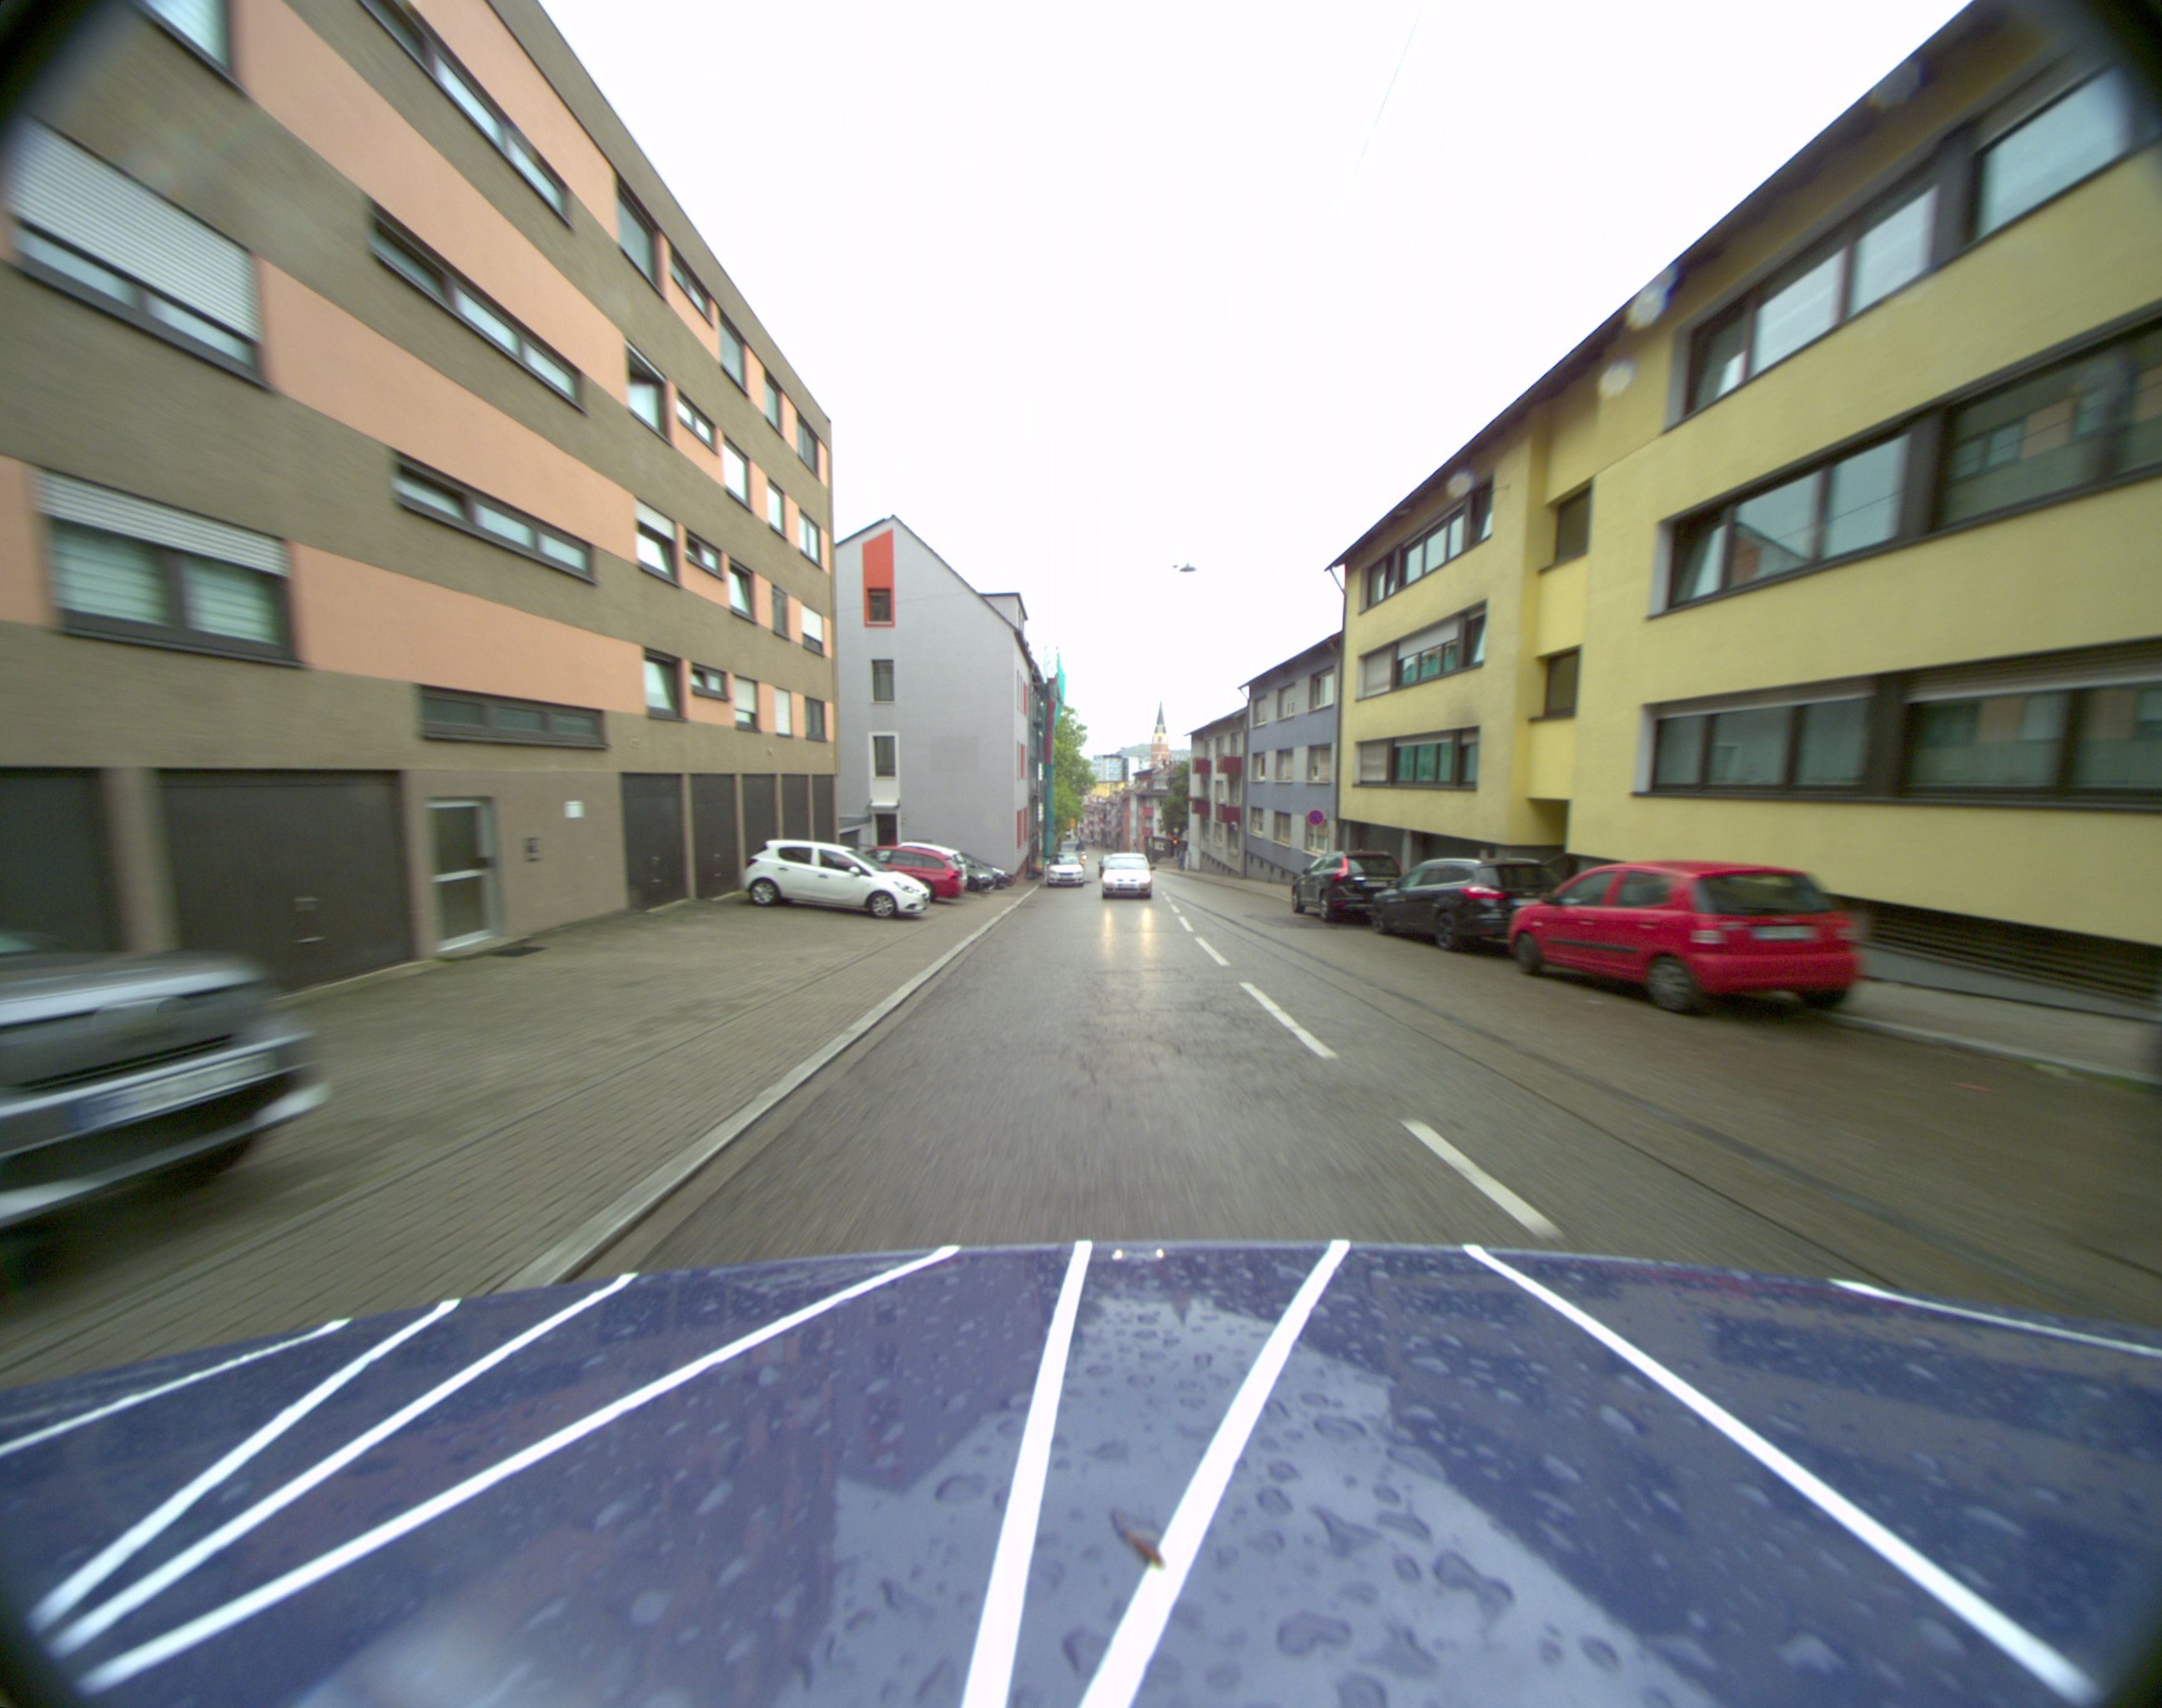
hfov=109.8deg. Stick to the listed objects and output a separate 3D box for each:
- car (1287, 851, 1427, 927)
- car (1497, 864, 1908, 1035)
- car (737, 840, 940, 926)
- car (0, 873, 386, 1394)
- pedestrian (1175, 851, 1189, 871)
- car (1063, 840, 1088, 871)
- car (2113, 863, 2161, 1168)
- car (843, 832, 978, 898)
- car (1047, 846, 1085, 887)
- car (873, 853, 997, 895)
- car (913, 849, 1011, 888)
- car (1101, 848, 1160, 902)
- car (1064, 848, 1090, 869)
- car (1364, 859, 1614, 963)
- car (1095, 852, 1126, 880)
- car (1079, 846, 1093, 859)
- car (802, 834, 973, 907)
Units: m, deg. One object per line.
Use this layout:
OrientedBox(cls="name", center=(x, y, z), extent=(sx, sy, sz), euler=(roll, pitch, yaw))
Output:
OrientedBox(cls="car", center=(6.593, 0.744, 18.754), extent=(1.998, 1.640, 4.442), euler=(0, 0, 2))
OrientedBox(cls="car", center=(6.557, 0.883, 8.588), extent=(1.733, 1.464, 3.490), euler=(0, 0, -1))
OrientedBox(cls="car", center=(-5.342, 0.614, 17.133), extent=(3.973, 1.521, 1.691), euler=(5, 1, -4))
OrientedBox(cls="car", center=(-5.328, 0.948, 2.545), extent=(4.209, 1.487, 1.759), euler=(-3, 1, -2))
OrientedBox(cls="pedestrian", center=(8.036, 0.544, 60.307), extent=(0.871, 1.532, 1.087), euler=(-2, 1, -2))
OrientedBox(cls="car", center=(-0.454, 0.084, 67.064), extent=(1.998, 2.401, 5.833), euler=(-2, 3, 0))
OrientedBox(cls="car", center=(6.626, 0.849, 1.886), extent=(1.999, 1.576, 4.470), euler=(0, 0, -1))
OrientedBox(cls="car", center=(-5.445, 0.338, 24.616), extent=(3.836, 1.692, 1.728), euler=(6, 1, -2))
OrientedBox(cls="car", center=(-0.693, 0.563, 35.956), extent=(1.644, 1.752, 3.999), euler=(-2, 0, -1))
OrientedBox(cls="car", center=(-5.358, 0.718, 28.307), extent=(4.279, 1.458, 1.893), euler=(0, 1, -1))
OrientedBox(cls="car", center=(-4.879, 0.591, 31.571), extent=(3.812, 1.541, 1.660), euler=(1, 1, -1))
OrientedBox(cls="car", center=(1.662, 0.676, 26.751), extent=(1.720, 1.528, 3.997), euler=(-2, 3, -1))
OrientedBox(cls="car", center=(-0.335, 0.364, 61.491), extent=(1.998, 1.503, 4.336), euler=(-2, 1, 0))
OrientedBox(cls="car", center=(6.825, 0.858, 13.379), extent=(1.999, 1.464, 4.347), euler=(0, 0, -1))
OrientedBox(cls="car", center=(1.863, 0.756, 49.267), extent=(1.720, 1.528, 3.997), euler=(-2, 3, -1))
OrientedBox(cls="car", center=(0.640, -0.181, 96.119), extent=(1.637, 1.521, 3.999), euler=(-2, 1, 1))
OrientedBox(cls="car", center=(-5.486, 0.452, 21.981), extent=(4.353, 1.521, 1.876), euler=(6, 1, -1))
